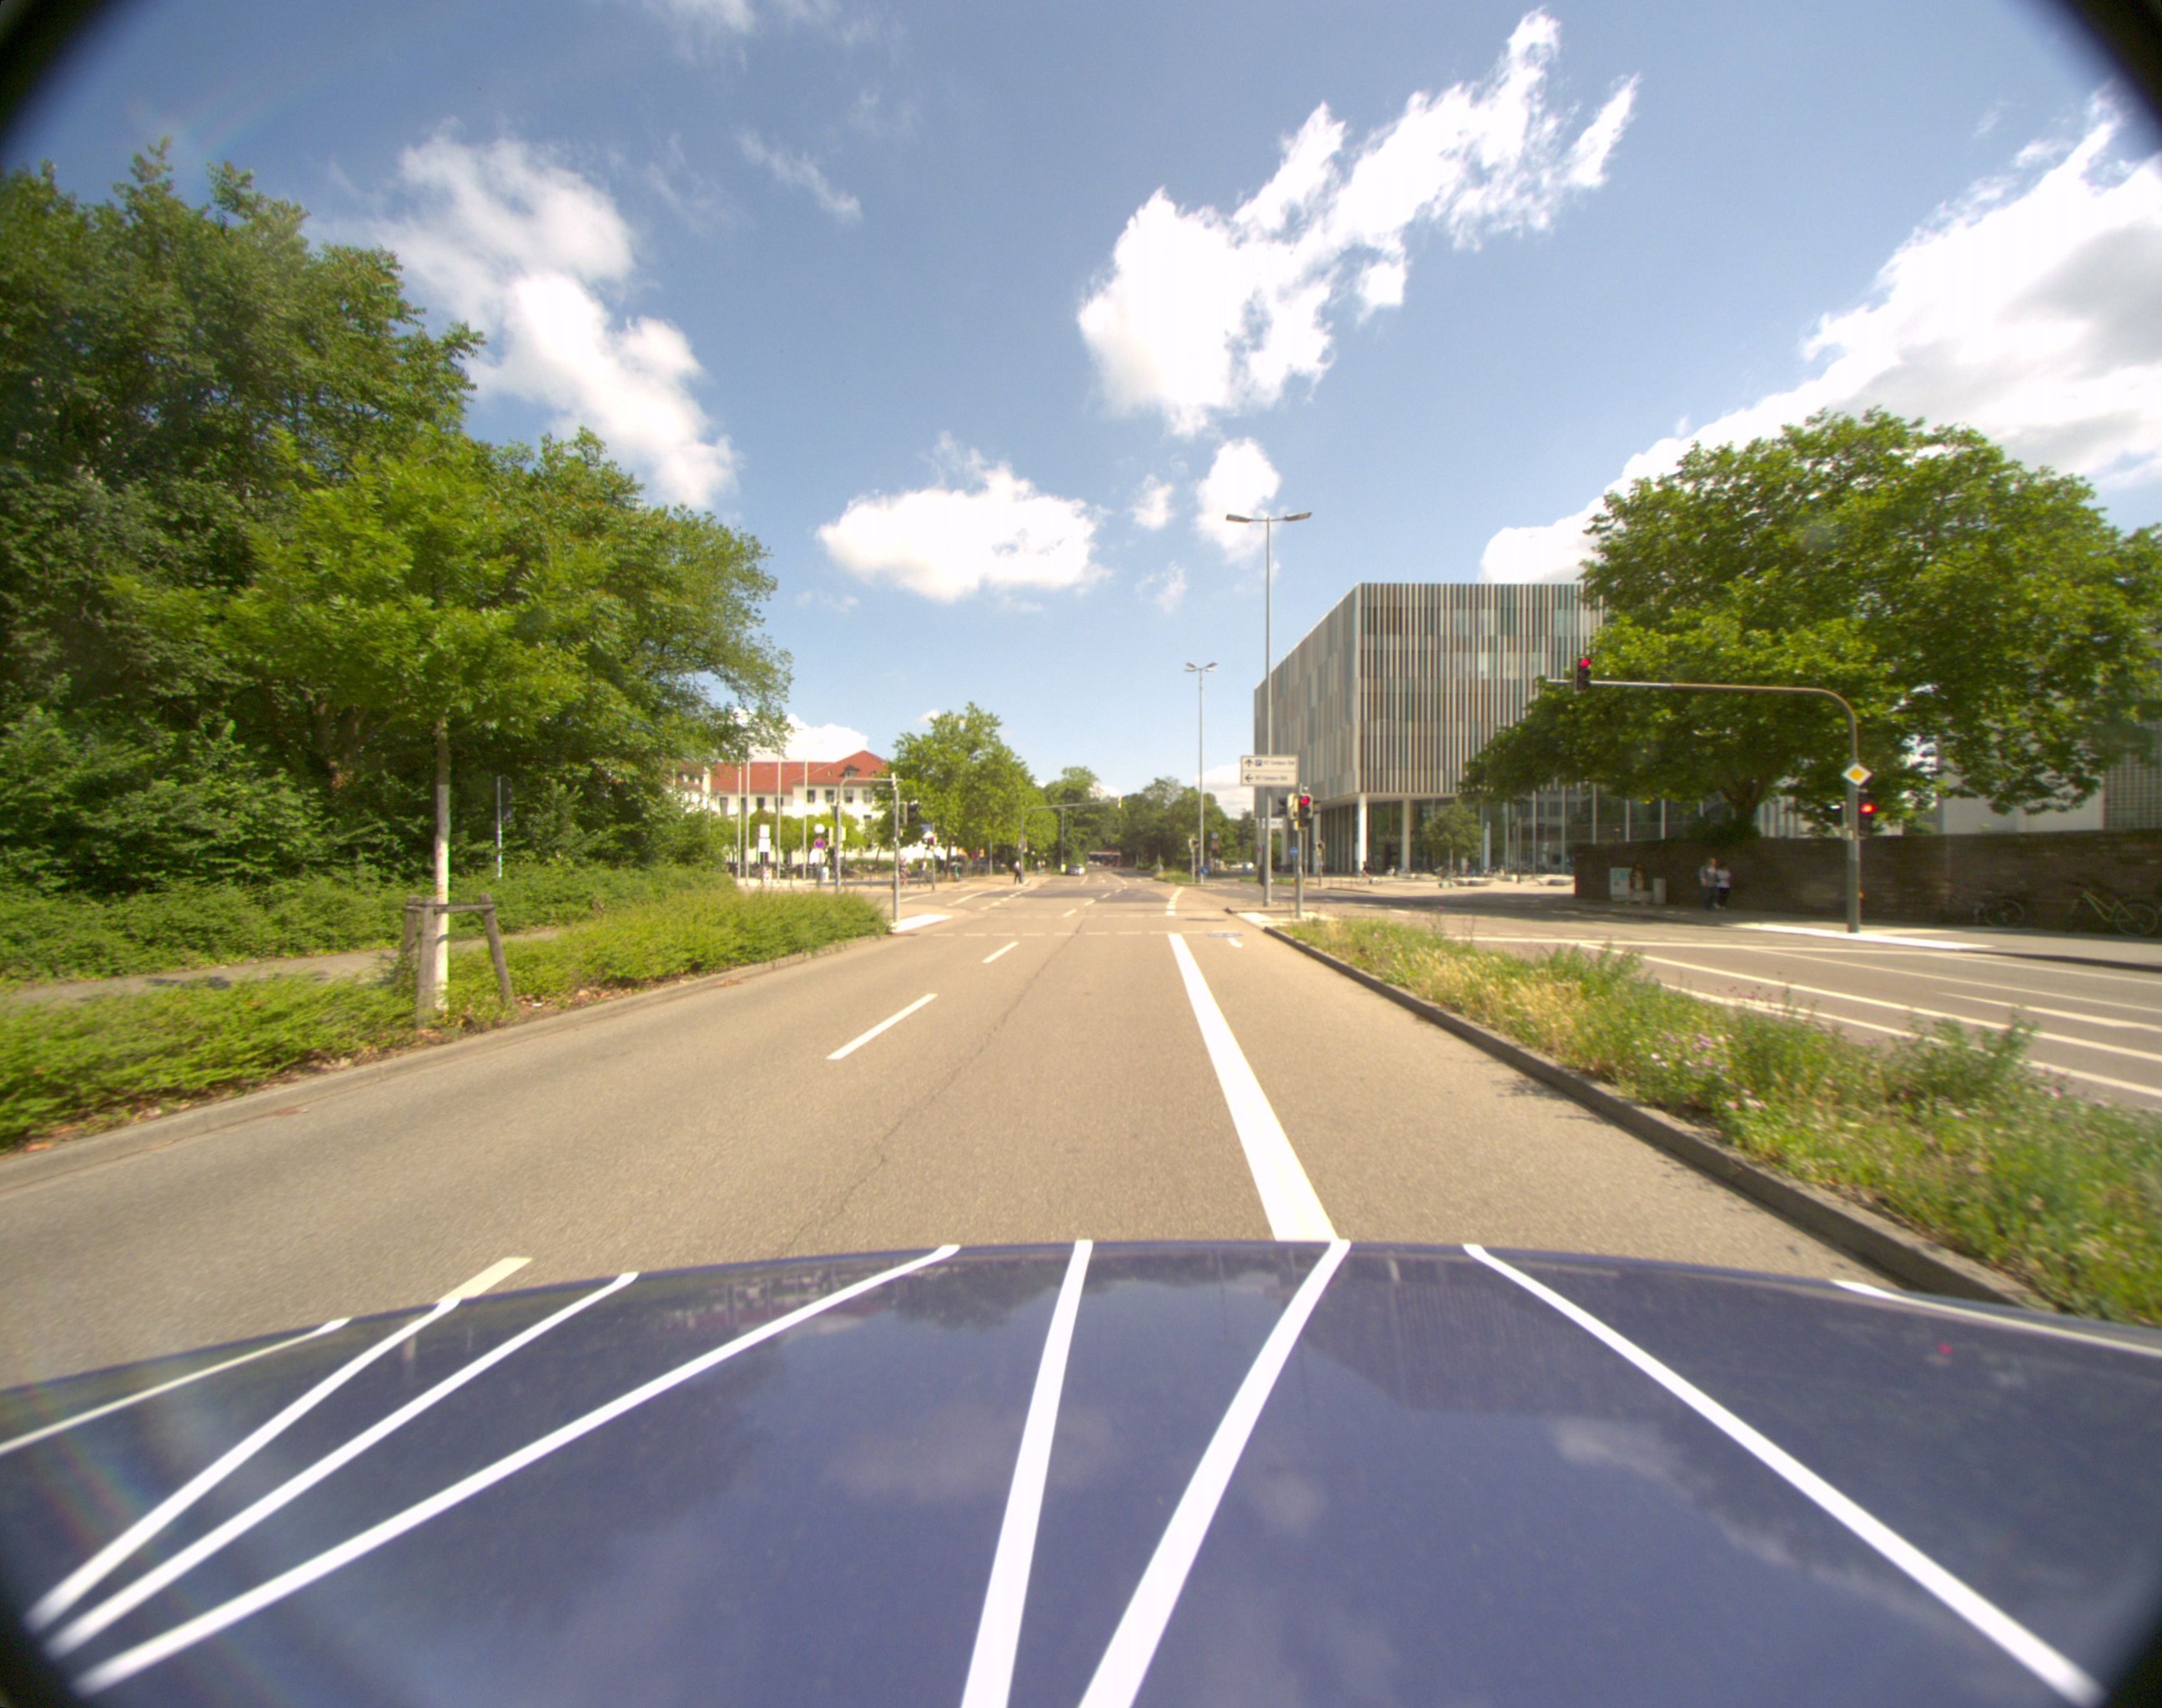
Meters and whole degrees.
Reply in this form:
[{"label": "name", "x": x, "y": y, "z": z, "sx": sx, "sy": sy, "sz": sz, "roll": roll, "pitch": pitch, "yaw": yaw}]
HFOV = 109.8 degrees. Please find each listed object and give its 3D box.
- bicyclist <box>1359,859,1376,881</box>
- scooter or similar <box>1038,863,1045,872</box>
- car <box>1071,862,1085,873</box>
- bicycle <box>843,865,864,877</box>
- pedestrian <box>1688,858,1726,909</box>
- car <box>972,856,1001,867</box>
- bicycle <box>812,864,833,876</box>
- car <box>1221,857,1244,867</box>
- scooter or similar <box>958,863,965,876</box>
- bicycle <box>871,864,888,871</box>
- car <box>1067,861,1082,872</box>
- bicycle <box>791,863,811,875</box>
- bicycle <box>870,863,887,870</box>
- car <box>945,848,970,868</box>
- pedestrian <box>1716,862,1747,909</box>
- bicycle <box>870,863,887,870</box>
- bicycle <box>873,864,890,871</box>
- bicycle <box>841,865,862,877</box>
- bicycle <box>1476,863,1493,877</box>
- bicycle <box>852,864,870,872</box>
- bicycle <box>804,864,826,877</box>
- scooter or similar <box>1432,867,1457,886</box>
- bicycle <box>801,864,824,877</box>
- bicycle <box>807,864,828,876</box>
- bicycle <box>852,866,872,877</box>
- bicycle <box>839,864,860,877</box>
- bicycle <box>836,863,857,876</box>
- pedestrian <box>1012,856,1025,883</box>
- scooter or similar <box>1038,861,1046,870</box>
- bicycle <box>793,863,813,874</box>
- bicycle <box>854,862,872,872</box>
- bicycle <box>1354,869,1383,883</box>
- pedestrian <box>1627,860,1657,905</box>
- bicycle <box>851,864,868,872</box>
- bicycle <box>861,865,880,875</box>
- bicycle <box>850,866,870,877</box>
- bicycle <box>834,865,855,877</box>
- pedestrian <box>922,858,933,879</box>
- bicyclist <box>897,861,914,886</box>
[{"label": "bicyclist", "x": 19.668, "y": 1.101, "z": 52.129, "sx": 0.944, "sy": 1.456, "sz": 0.633, "roll": 0, "pitch": 0, "yaw": 36}, {"label": "scooter or similar", "x": -4.599, "y": 1.546, "z": 88.451, "sx": 0.518, "sy": 1.071, "sz": 1.442, "roll": 0, "pitch": 0, "yaw": 9}, {"label": "car", "x": -0.361, "y": 1.709, "z": 100.111, "sx": 1.559, "sy": 1.335, "sz": 4.002, "roll": 2, "pitch": 0, "yaw": 4}, {"label": "bicycle", "x": -20.605, "y": 1.503, "z": 68.776, "sx": 1.672, "sy": 1.090, "sz": 0.627, "roll": 0, "pitch": 0, "yaw": -4}, {"label": "pedestrian", "x": 20.474, "y": 0.957, "z": 24.859, "sx": 0.642, "sy": 1.641, "sz": 0.731, "roll": 0, "pitch": 0, "yaw": -1}, {"label": "car", "x": -12.846, "y": 0.992, "z": 103.359, "sx": 3.999, "sy": 1.416, "sz": 1.756, "roll": 0, "pitch": 0, "yaw": -7}, {"label": "bicycle", "x": -23.156, "y": 1.443, "z": 68.101, "sx": 1.672, "sy": 1.090, "sz": 0.627, "roll": 0, "pitch": 0, "yaw": -4}, {"label": "car", "x": 27.825, "y": 1.461, "z": 139.415, "sx": 3.996, "sy": 1.676, "sz": 1.647, "roll": 0, "pitch": 0, "yaw": 3}, {"label": "scooter or similar", "x": -10.102, "y": 1.294, "z": 63.993, "sx": 0.347, "sy": 1.122, "sz": 1.168, "roll": 0, "pitch": 0, "yaw": 3}, {"label": "bicycle", "x": -21.731, "y": 1.491, "z": 82.090, "sx": 1.672, "sy": 0.729, "sz": 0.627, "roll": 0, "pitch": 0, "yaw": -4}, {"label": "car", "x": -0.803, "y": 1.547, "z": 94.419, "sx": 1.708, "sy": 1.321, "sz": 3.999, "roll": 2, "pitch": 0, "yaw": -1}, {"label": "bicycle", "x": -26.201, "y": 1.403, "z": 71.082, "sx": 1.672, "sy": 1.090, "sz": 0.627, "roll": 0, "pitch": 0, "yaw": -4}, {"label": "bicycle", "x": -21.625, "y": 1.329, "z": 81.077, "sx": 1.672, "sy": 0.729, "sz": 0.627, "roll": 0, "pitch": 0, "yaw": -4}, {"label": "car", "x": -13.091, "y": 0.451, "z": 80.578, "sx": 1.999, "sy": 2.002, "sz": 4.901, "roll": 0, "pitch": 0, "yaw": -2}, {"label": "pedestrian", "x": 21.253, "y": 1.024, "z": 24.820, "sx": 0.477, "sy": 1.531, "sz": 0.616, "roll": 0, "pitch": 0, "yaw": -1}, {"label": "bicycle", "x": -21.410, "y": 1.317, "z": 80.303, "sx": 1.672, "sy": 0.729, "sz": 0.627, "roll": 0, "pitch": 0, "yaw": -4}, {"label": "bicycle", "x": -21.811, "y": 1.466, "z": 82.945, "sx": 1.672, "sy": 0.729, "sz": 0.627, "roll": 0, "pitch": 0, "yaw": -4}, {"label": "bicycle", "x": -20.574, "y": 1.508, "z": 68.096, "sx": 1.672, "sy": 1.090, "sz": 0.627, "roll": 0, "pitch": 0, "yaw": -4}, {"label": "bicycle", "x": 33.615, "y": 1.357, "z": 63.336, "sx": 0.745, "sy": 1.131, "sz": 2.324, "roll": 0, "pitch": 0, "yaw": 41}, {"label": "bicycle", "x": -23.363, "y": 1.497, "z": 80.717, "sx": 1.672, "sy": 0.785, "sz": 0.626, "roll": 0, "pitch": 0, "yaw": -5}, {"label": "bicycle", "x": -22.779, "y": 1.398, "z": 65.027, "sx": 1.672, "sy": 1.090, "sz": 0.627, "roll": 0, "pitch": 0, "yaw": -4}, {"label": "scooter or similar", "x": 21.707, "y": 1.329, "z": 45.392, "sx": 1.504, "sy": 1.150, "sz": 0.502, "roll": 0, "pitch": 0, "yaw": -23}, {"label": "bicycle", "x": -22.722, "y": 1.411, "z": 64.289, "sx": 1.672, "sy": 1.090, "sz": 0.627, "roll": 0, "pitch": 0, "yaw": -4}, {"label": "bicycle", "x": -22.802, "y": 1.386, "z": 65.752, "sx": 1.672, "sy": 1.090, "sz": 0.627, "roll": 0, "pitch": 0, "yaw": -4}, {"label": "bicycle", "x": -20.438, "y": 1.617, "z": 70.913, "sx": 1.672, "sy": 0.979, "sz": 0.627, "roll": 0, "pitch": 0, "yaw": -4}, {"label": "bicycle", "x": -20.440, "y": 1.438, "z": 67.036, "sx": 1.672, "sy": 1.090, "sz": 0.627, "roll": 0, "pitch": 0, "yaw": -4}, {"label": "bicycle", "x": -20.448, "y": 1.348, "z": 66.359, "sx": 1.672, "sy": 1.090, "sz": 0.627, "roll": 0, "pitch": 0, "yaw": -4}, {"label": "pedestrian", "x": -4.356, "y": 1.078, "z": 53.294, "sx": 0.701, "sy": 1.815, "sz": 0.942, "roll": 3, "pitch": 1, "yaw": 2}, {"label": "scooter or similar", "x": -4.642, "y": 1.344, "z": 90.949, "sx": 0.517, "sy": 1.065, "sz": 1.372, "roll": 0, "pitch": 0, "yaw": 17}, {"label": "bicycle", "x": -26.275, "y": 1.355, "z": 71.830, "sx": 1.672, "sy": 1.090, "sz": 0.627, "roll": 0, "pitch": 0, "yaw": -4}, {"label": "bicycle", "x": -22.574, "y": 1.332, "z": 78.766, "sx": 1.672, "sy": 1.090, "sz": 0.627, "roll": 0, "pitch": 0, "yaw": -4}, {"label": "bicycle", "x": 19.714, "y": 1.517, "z": 52.094, "sx": 1.770, "sy": 0.887, "sz": 0.639, "roll": 0, "pitch": 0, "yaw": 36}, {"label": "pedestrian", "x": 20.578, "y": 1.027, "z": 27.891, "sx": 0.562, "sy": 1.641, "sz": 0.727, "roll": 0, "pitch": 0, "yaw": -1}, {"label": "bicycle", "x": -23.315, "y": 1.496, "z": 79.966, "sx": 1.672, "sy": 0.785, "sz": 0.626, "roll": 0, "pitch": 0, "yaw": -5}, {"label": "bicycle", "x": -20.568, "y": 1.566, "z": 74.207, "sx": 1.672, "sy": 1.022, "sz": 0.627, "roll": 0, "pitch": 0, "yaw": -4}, {"label": "bicycle", "x": -20.416, "y": 1.592, "z": 70.137, "sx": 1.672, "sy": 1.029, "sz": 0.627, "roll": 0, "pitch": 0, "yaw": -4}, {"label": "bicycle", "x": -20.430, "y": 1.476, "z": 65.700, "sx": 1.672, "sy": 1.090, "sz": 0.627, "roll": 0, "pitch": 0, "yaw": -4}, {"label": "pedestrian", "x": -12.504, "y": 1.175, "z": 61.890, "sx": 0.740, "sy": 1.640, "sz": 0.641, "roll": 0, "pitch": 0, "yaw": 42}, {"label": "bicyclist", "x": -10.749, "y": 1.172, "z": 46.618, "sx": 0.916, "sy": 1.498, "sz": 0.614, "roll": 0, "pitch": 0, "yaw": 44}]
